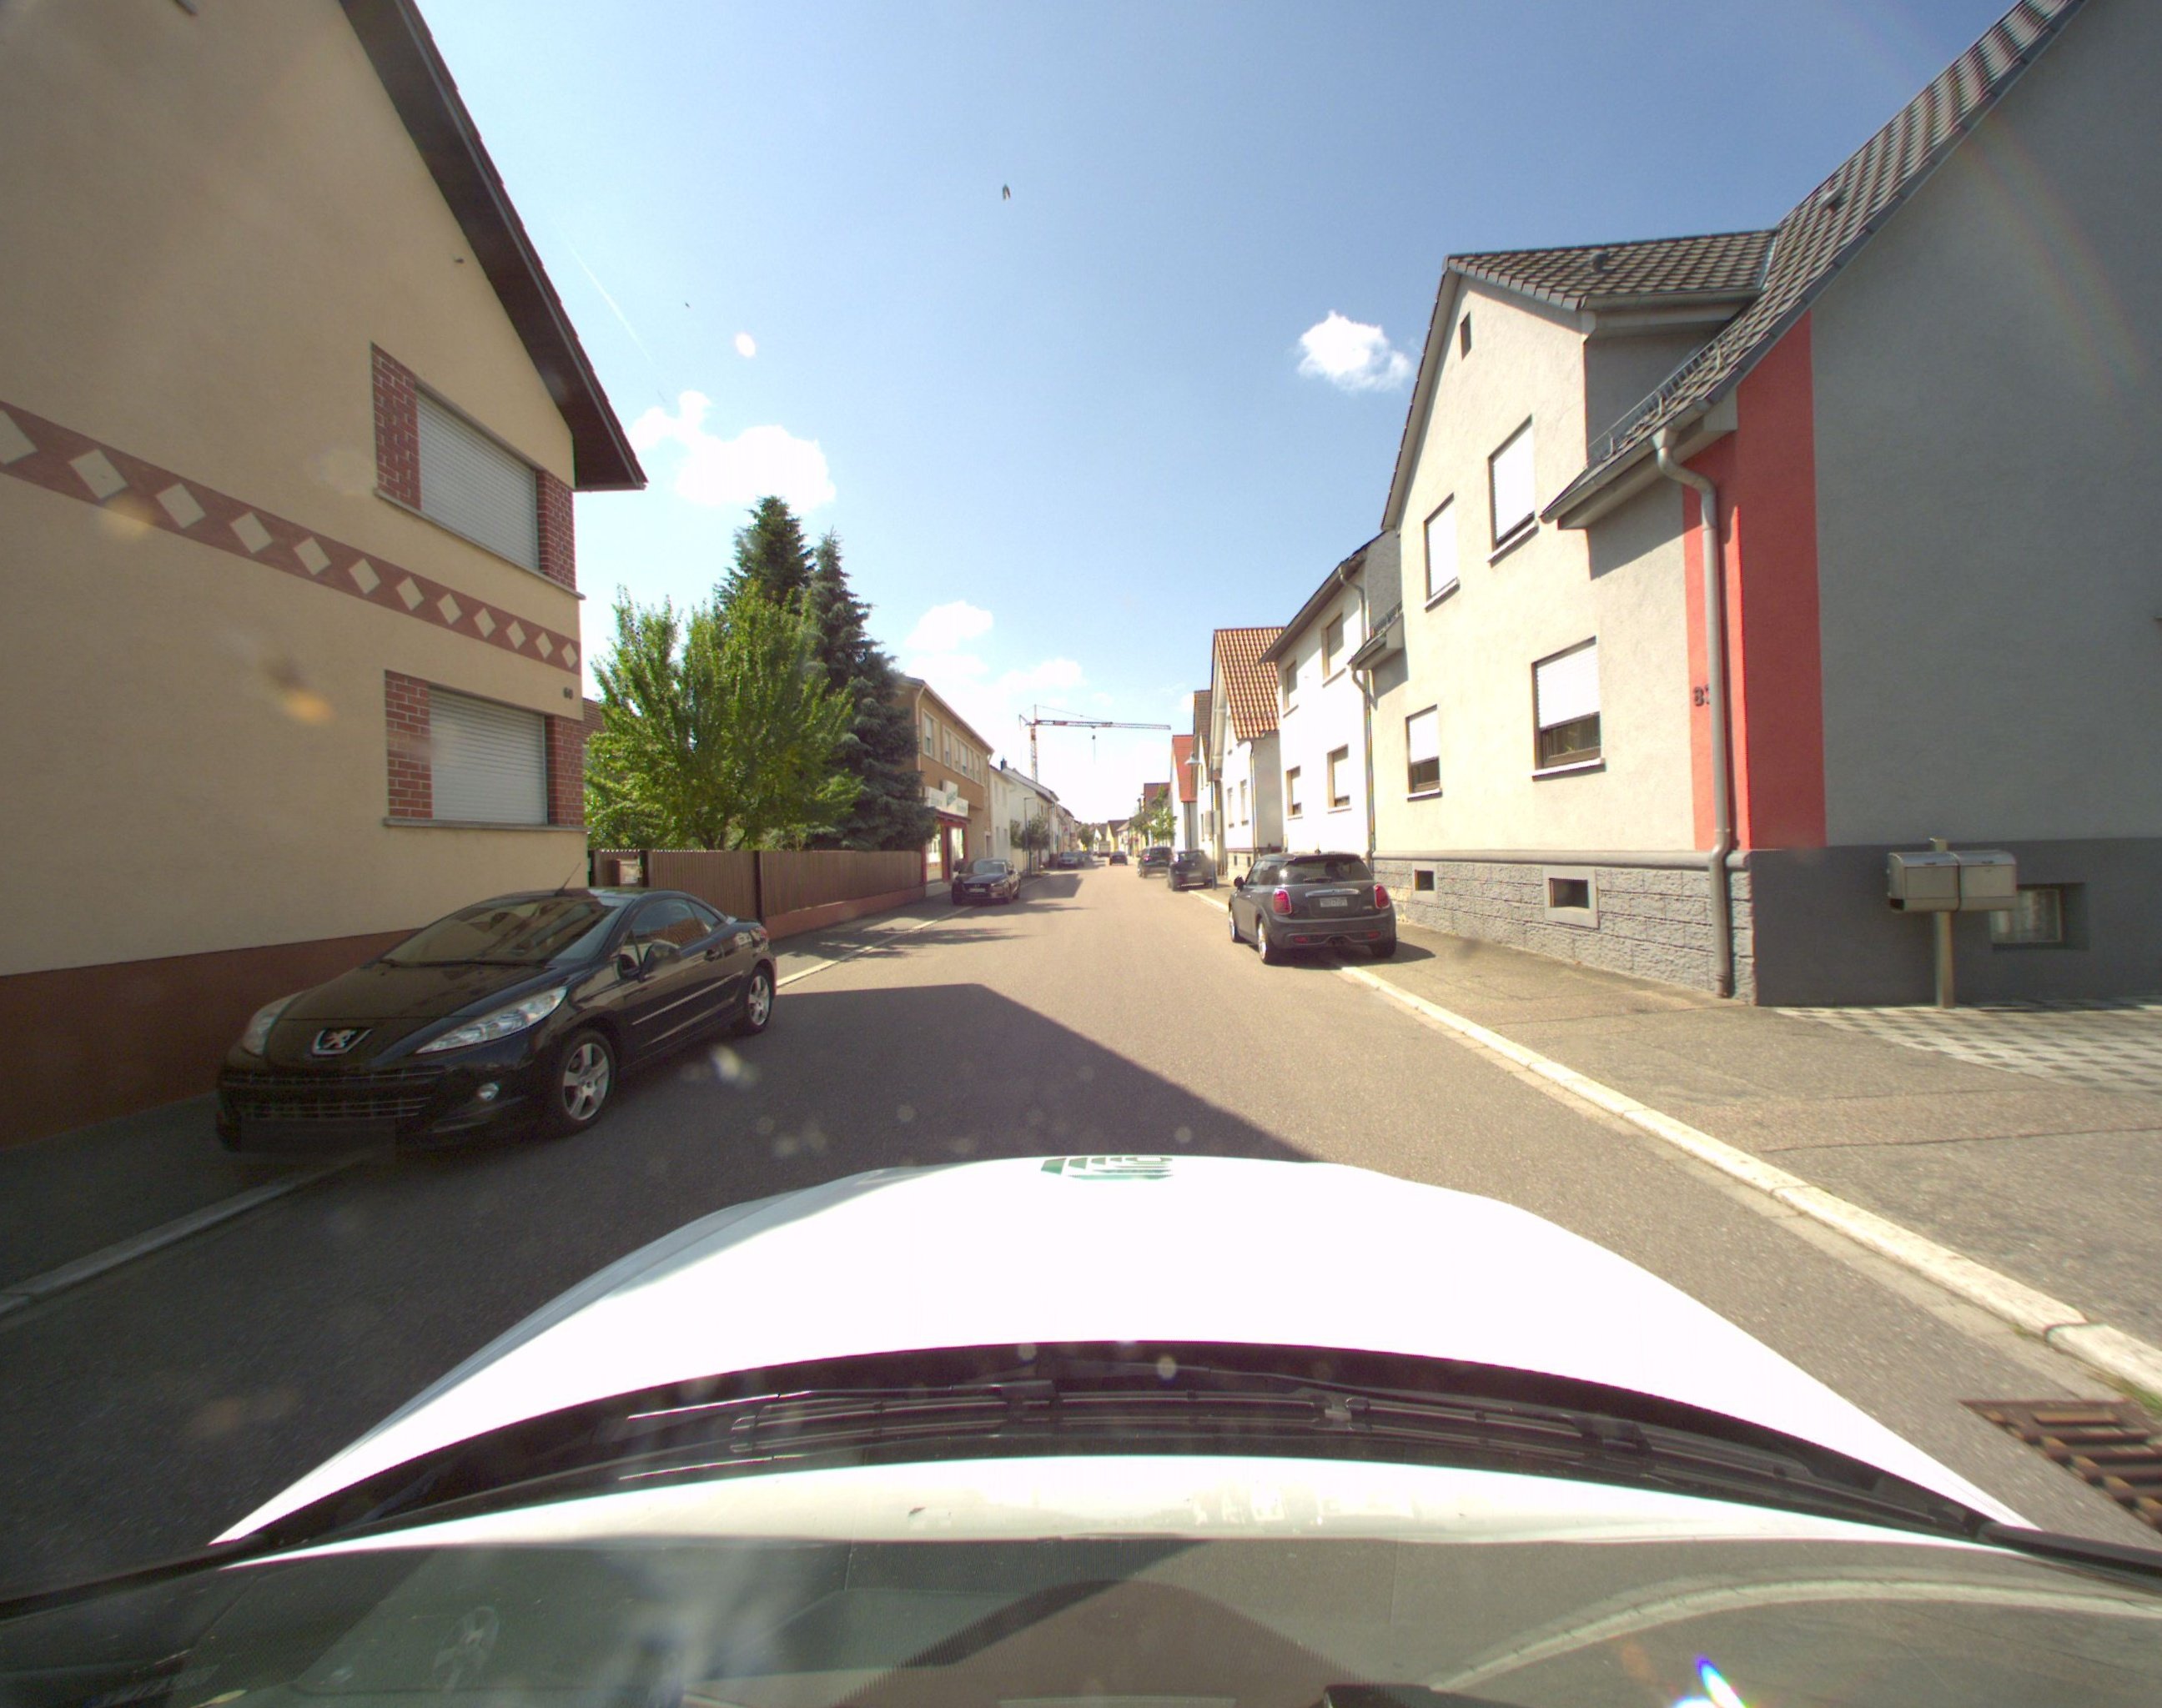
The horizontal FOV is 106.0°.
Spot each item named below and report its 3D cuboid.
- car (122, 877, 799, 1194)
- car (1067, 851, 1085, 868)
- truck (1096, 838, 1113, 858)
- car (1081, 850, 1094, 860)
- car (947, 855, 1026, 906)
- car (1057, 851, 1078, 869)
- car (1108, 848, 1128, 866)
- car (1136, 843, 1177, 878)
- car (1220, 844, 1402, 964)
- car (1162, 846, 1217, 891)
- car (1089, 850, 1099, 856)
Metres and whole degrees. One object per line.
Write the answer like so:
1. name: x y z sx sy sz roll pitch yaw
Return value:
1. car: -3.711 0.936 5.977 1.755 1.374 4.068 -1 0 1
2. car: -0.521 0.535 82.873 1.647 1.608 4.062 -2 0 1
3. truck: 5.099 -1.261 179.510 3.367 3.865 13.926 -3 0 0
4. car: 0.967 0.131 122.311 1.716 1.555 4.175 -1 0 2
5. car: -3.022 0.796 26.937 1.760 1.460 4.441 -2 0 3
6. car: -1.253 0.565 76.208 1.752 1.525 4.290 -2 0 1
7. car: 3.771 0.294 83.251 1.776 1.753 4.001 -3 0 1
8. car: 4.038 0.336 44.152 1.723 1.717 4.275 -2 0 0
9. car: 3.156 0.607 11.890 1.682 1.422 3.658 -2 0 2
10. car: 4.128 0.518 31.542 1.611 1.495 3.973 -5 0 2
11. car: 3.734 -0.216 238.723 1.824 1.753 4.208 -3 0 -14
